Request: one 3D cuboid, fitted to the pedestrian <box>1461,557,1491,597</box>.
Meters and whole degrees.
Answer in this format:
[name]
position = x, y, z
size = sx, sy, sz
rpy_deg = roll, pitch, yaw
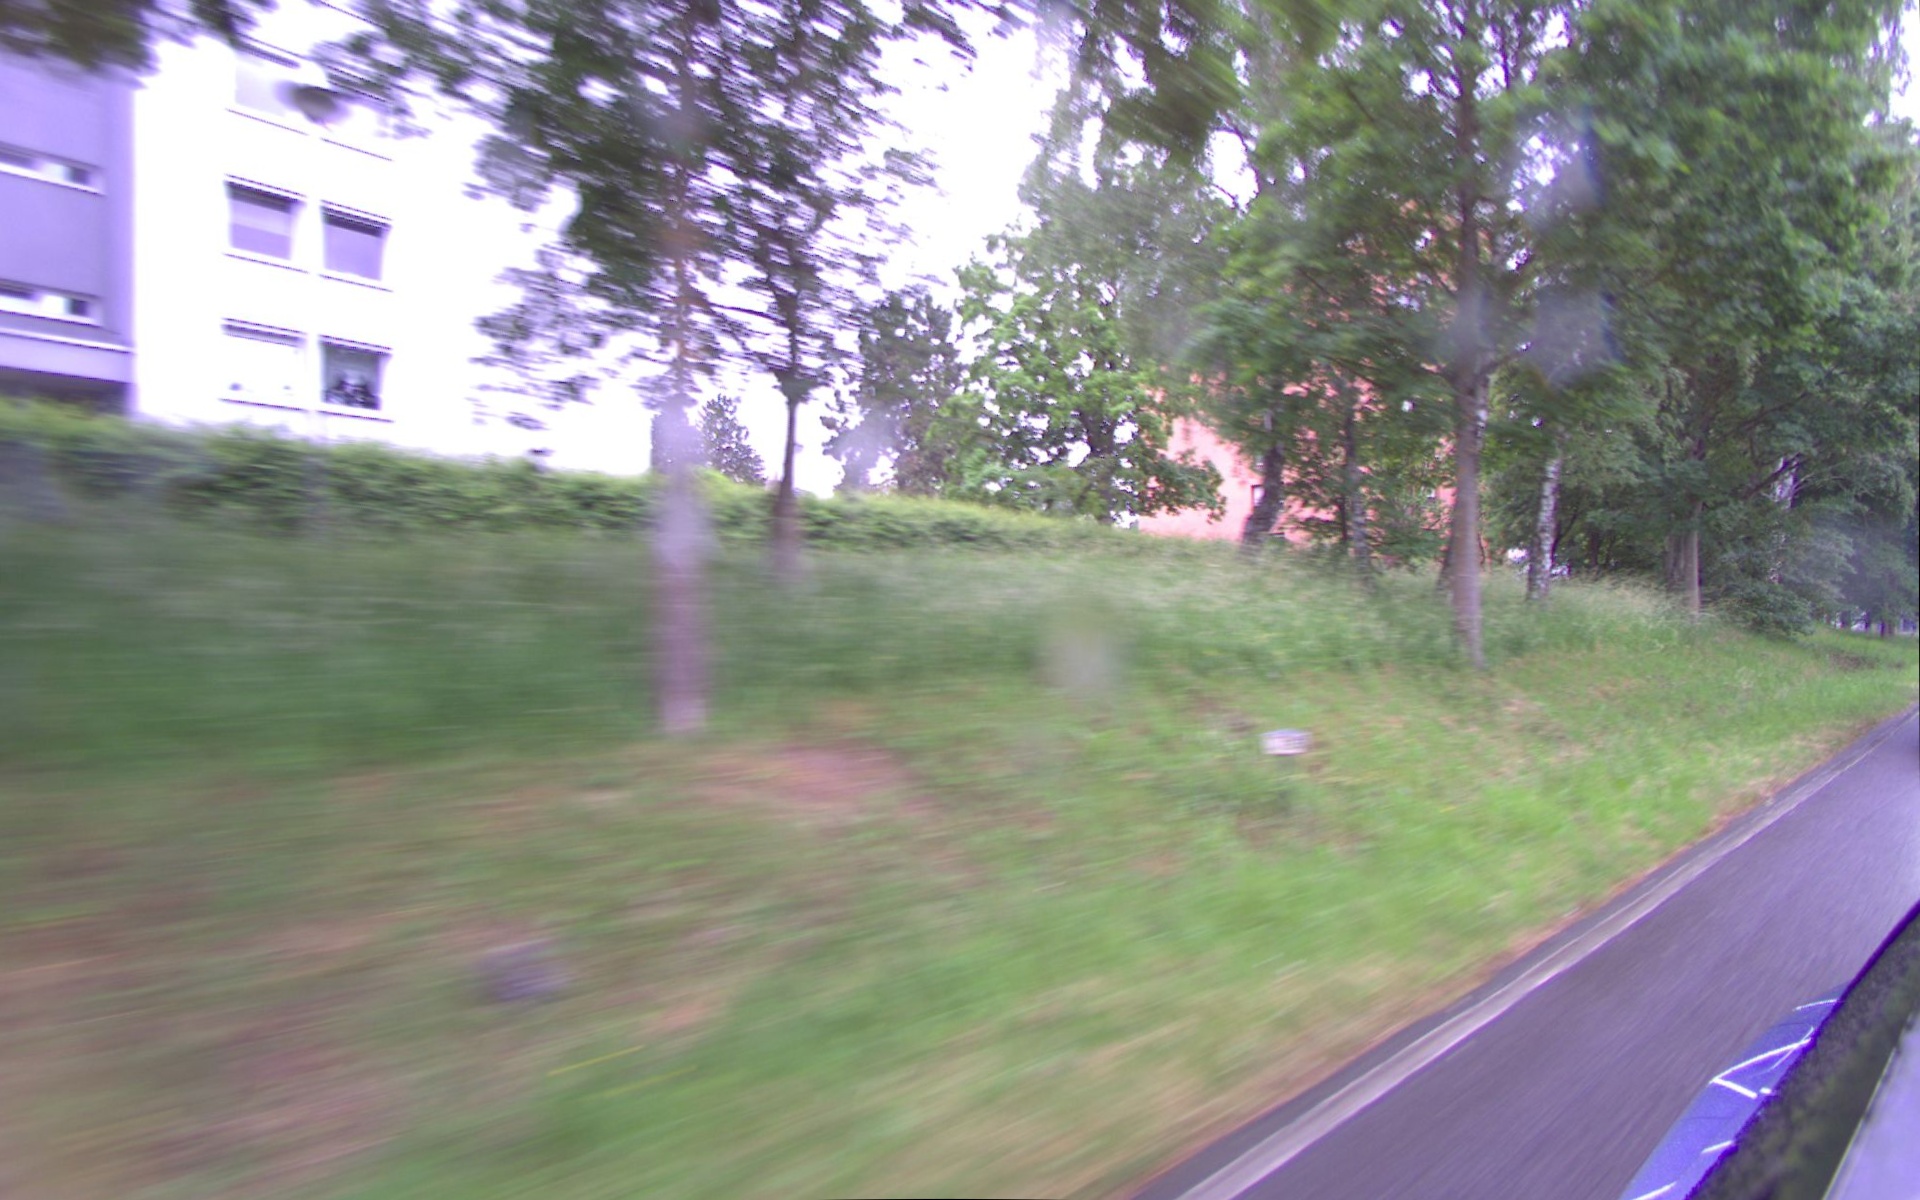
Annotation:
[pedestrian]
position = 17.531, -0.780, 34.377
size = 0.613, 1.300, 0.656
rpy_deg = 2, 0, -39
